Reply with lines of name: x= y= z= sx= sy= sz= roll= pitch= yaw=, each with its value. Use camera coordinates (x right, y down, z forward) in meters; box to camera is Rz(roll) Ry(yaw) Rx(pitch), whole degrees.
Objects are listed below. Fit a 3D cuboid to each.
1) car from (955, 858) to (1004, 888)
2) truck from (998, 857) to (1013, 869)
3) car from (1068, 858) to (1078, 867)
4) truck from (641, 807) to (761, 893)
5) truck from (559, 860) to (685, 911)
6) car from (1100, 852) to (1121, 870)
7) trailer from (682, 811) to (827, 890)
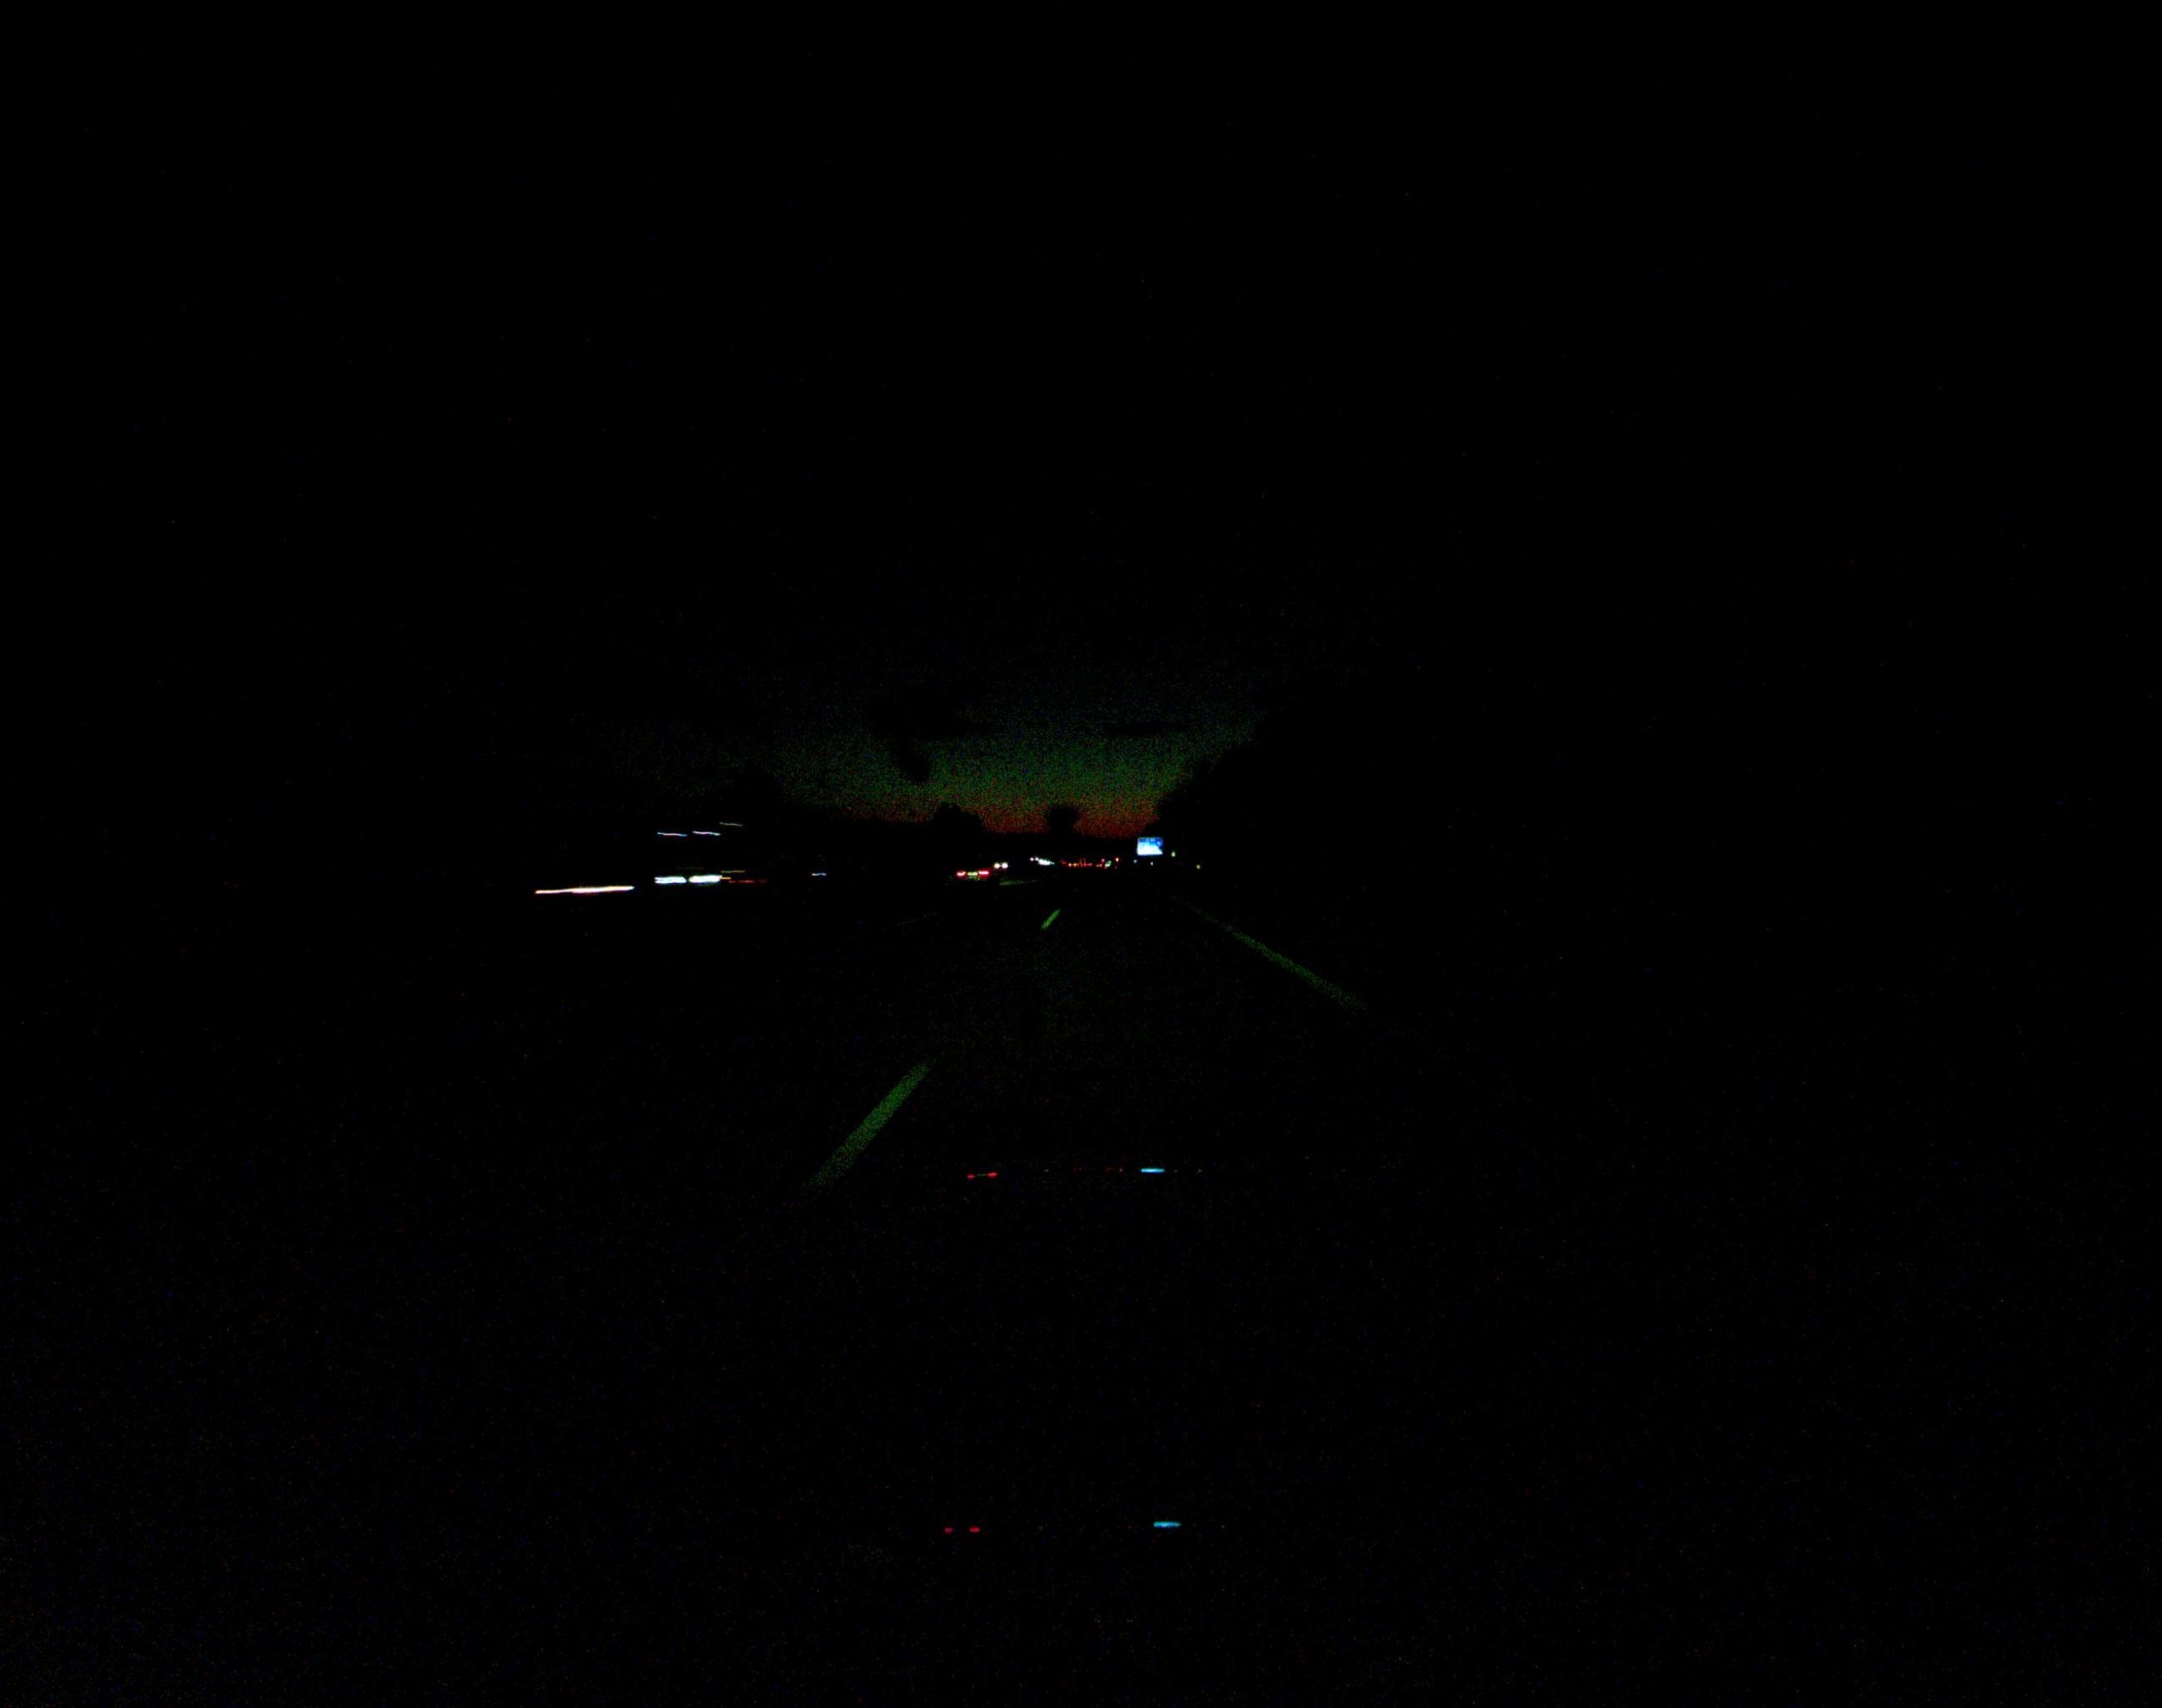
car: x=-5.405 y=0.991 z=44.014 sx=1.773 sy=1.487 sz=5.256 roll=0 pitch=0 yaw=2
truck: x=-16.736 y=1.948 z=180.600 sx=2.188 sy=2.726 sz=7.627 roll=1 pitch=0 yaw=2
car: x=-1.868 y=1.961 z=193.033 sx=2.188 sy=1.955 sz=4.635 roll=0 pitch=0 yaw=2
truck: x=-21.122 y=-0.201 z=45.773 sx=3.313 sy=4.433 sz=6.710 roll=-2 pitch=0 yaw=2
truck: x=-17.663 y=1.151 z=31.653 sx=2.027 sy=1.756 sz=4.765 roll=-1 pitch=0 yaw=2
car: x=3.507 y=0.792 z=95.615 sx=2.187 sy=1.955 sz=4.768 roll=-3 pitch=0 yaw=4
trailer: x=-20.864 y=-0.189 z=53.574 sx=3.313 sy=4.433 sz=14.029 roll=-2 pitch=0 yaw=2
